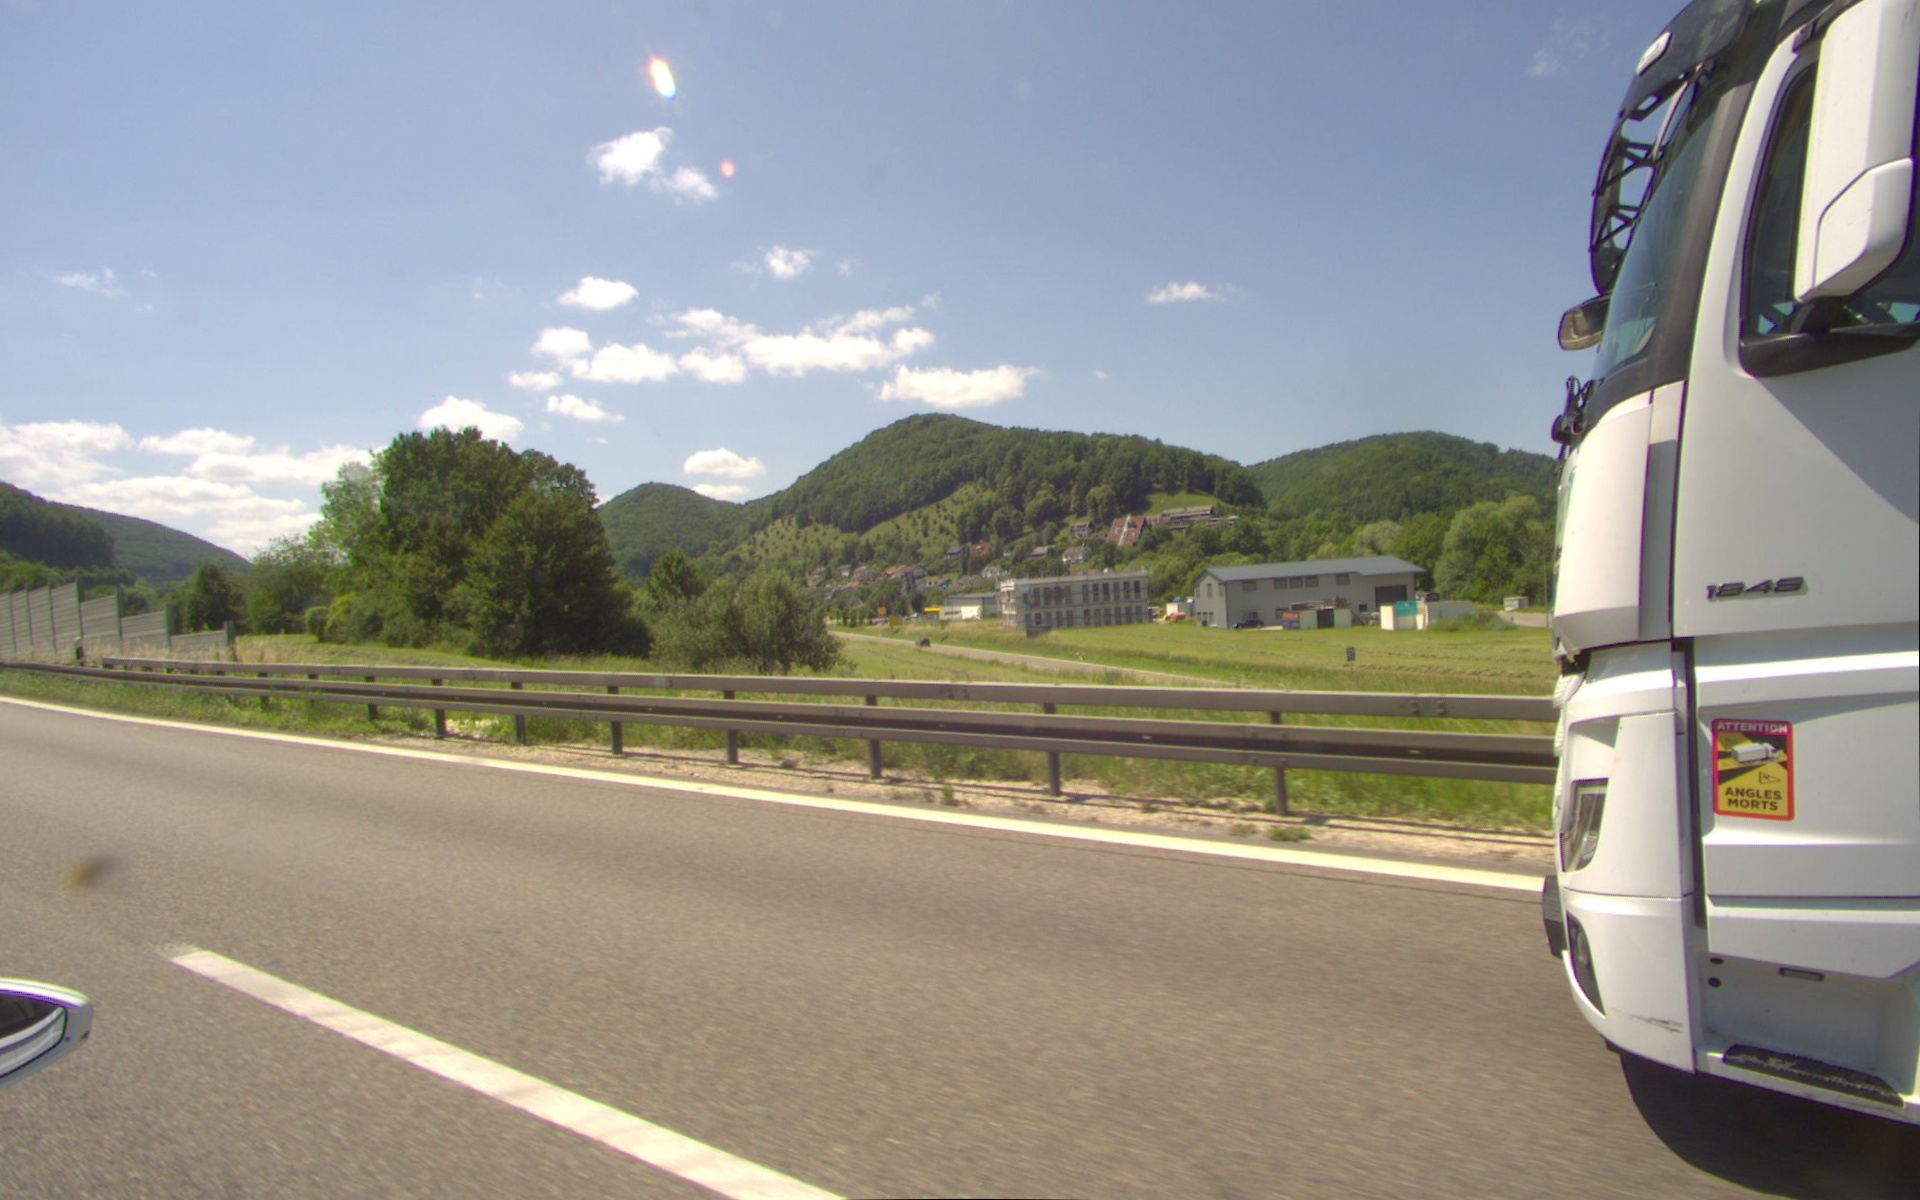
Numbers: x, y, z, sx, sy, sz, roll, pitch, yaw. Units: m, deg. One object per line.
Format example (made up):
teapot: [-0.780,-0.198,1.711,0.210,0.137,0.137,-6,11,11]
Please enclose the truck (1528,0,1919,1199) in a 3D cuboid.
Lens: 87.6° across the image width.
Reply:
truck: [4.626,-0.598,2.358,5.670,4.120,2.715,-1,-1,31]
